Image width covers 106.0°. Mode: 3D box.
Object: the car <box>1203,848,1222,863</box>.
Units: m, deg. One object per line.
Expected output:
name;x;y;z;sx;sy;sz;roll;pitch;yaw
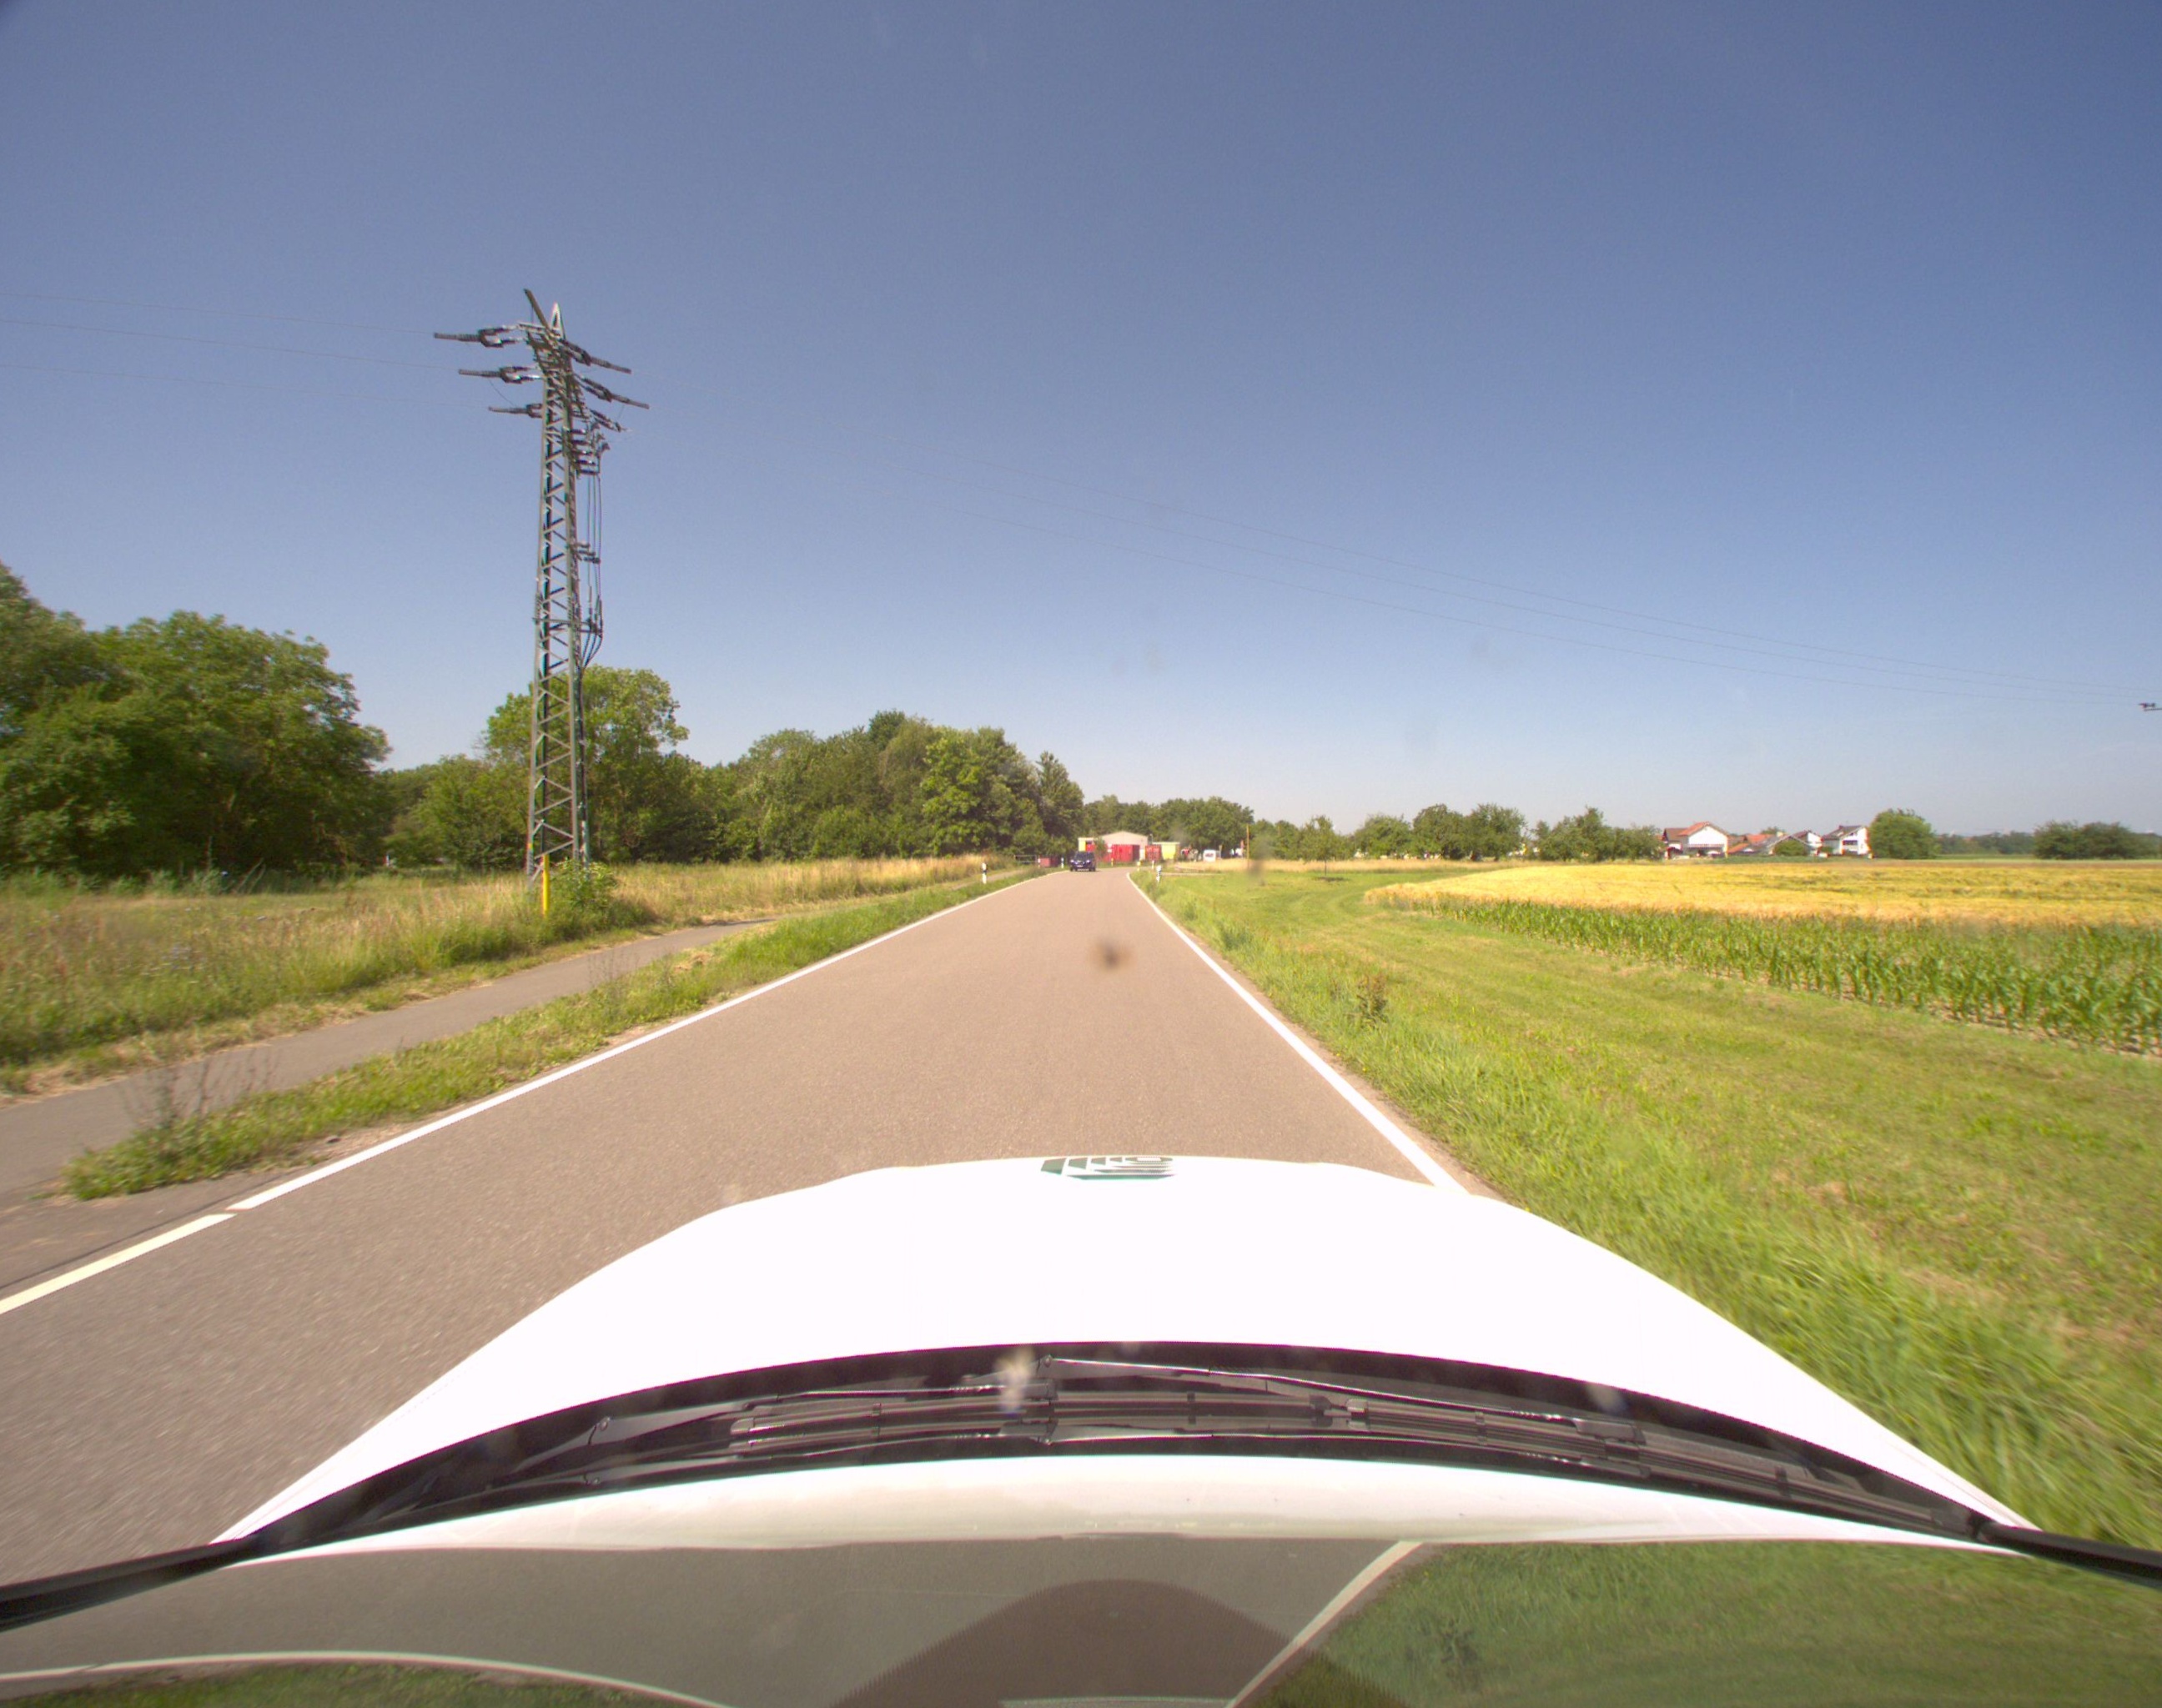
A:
car;20.823;0.232;128.924;1.976;2.266;4.751;0;0;22

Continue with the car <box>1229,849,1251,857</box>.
car;43.590;-0.281;223.351;5.607;2.266;1.989;0;0;-17

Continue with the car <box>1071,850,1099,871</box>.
car;0.386;0.548;70.669;1.855;1.753;4.306;0;0;8
